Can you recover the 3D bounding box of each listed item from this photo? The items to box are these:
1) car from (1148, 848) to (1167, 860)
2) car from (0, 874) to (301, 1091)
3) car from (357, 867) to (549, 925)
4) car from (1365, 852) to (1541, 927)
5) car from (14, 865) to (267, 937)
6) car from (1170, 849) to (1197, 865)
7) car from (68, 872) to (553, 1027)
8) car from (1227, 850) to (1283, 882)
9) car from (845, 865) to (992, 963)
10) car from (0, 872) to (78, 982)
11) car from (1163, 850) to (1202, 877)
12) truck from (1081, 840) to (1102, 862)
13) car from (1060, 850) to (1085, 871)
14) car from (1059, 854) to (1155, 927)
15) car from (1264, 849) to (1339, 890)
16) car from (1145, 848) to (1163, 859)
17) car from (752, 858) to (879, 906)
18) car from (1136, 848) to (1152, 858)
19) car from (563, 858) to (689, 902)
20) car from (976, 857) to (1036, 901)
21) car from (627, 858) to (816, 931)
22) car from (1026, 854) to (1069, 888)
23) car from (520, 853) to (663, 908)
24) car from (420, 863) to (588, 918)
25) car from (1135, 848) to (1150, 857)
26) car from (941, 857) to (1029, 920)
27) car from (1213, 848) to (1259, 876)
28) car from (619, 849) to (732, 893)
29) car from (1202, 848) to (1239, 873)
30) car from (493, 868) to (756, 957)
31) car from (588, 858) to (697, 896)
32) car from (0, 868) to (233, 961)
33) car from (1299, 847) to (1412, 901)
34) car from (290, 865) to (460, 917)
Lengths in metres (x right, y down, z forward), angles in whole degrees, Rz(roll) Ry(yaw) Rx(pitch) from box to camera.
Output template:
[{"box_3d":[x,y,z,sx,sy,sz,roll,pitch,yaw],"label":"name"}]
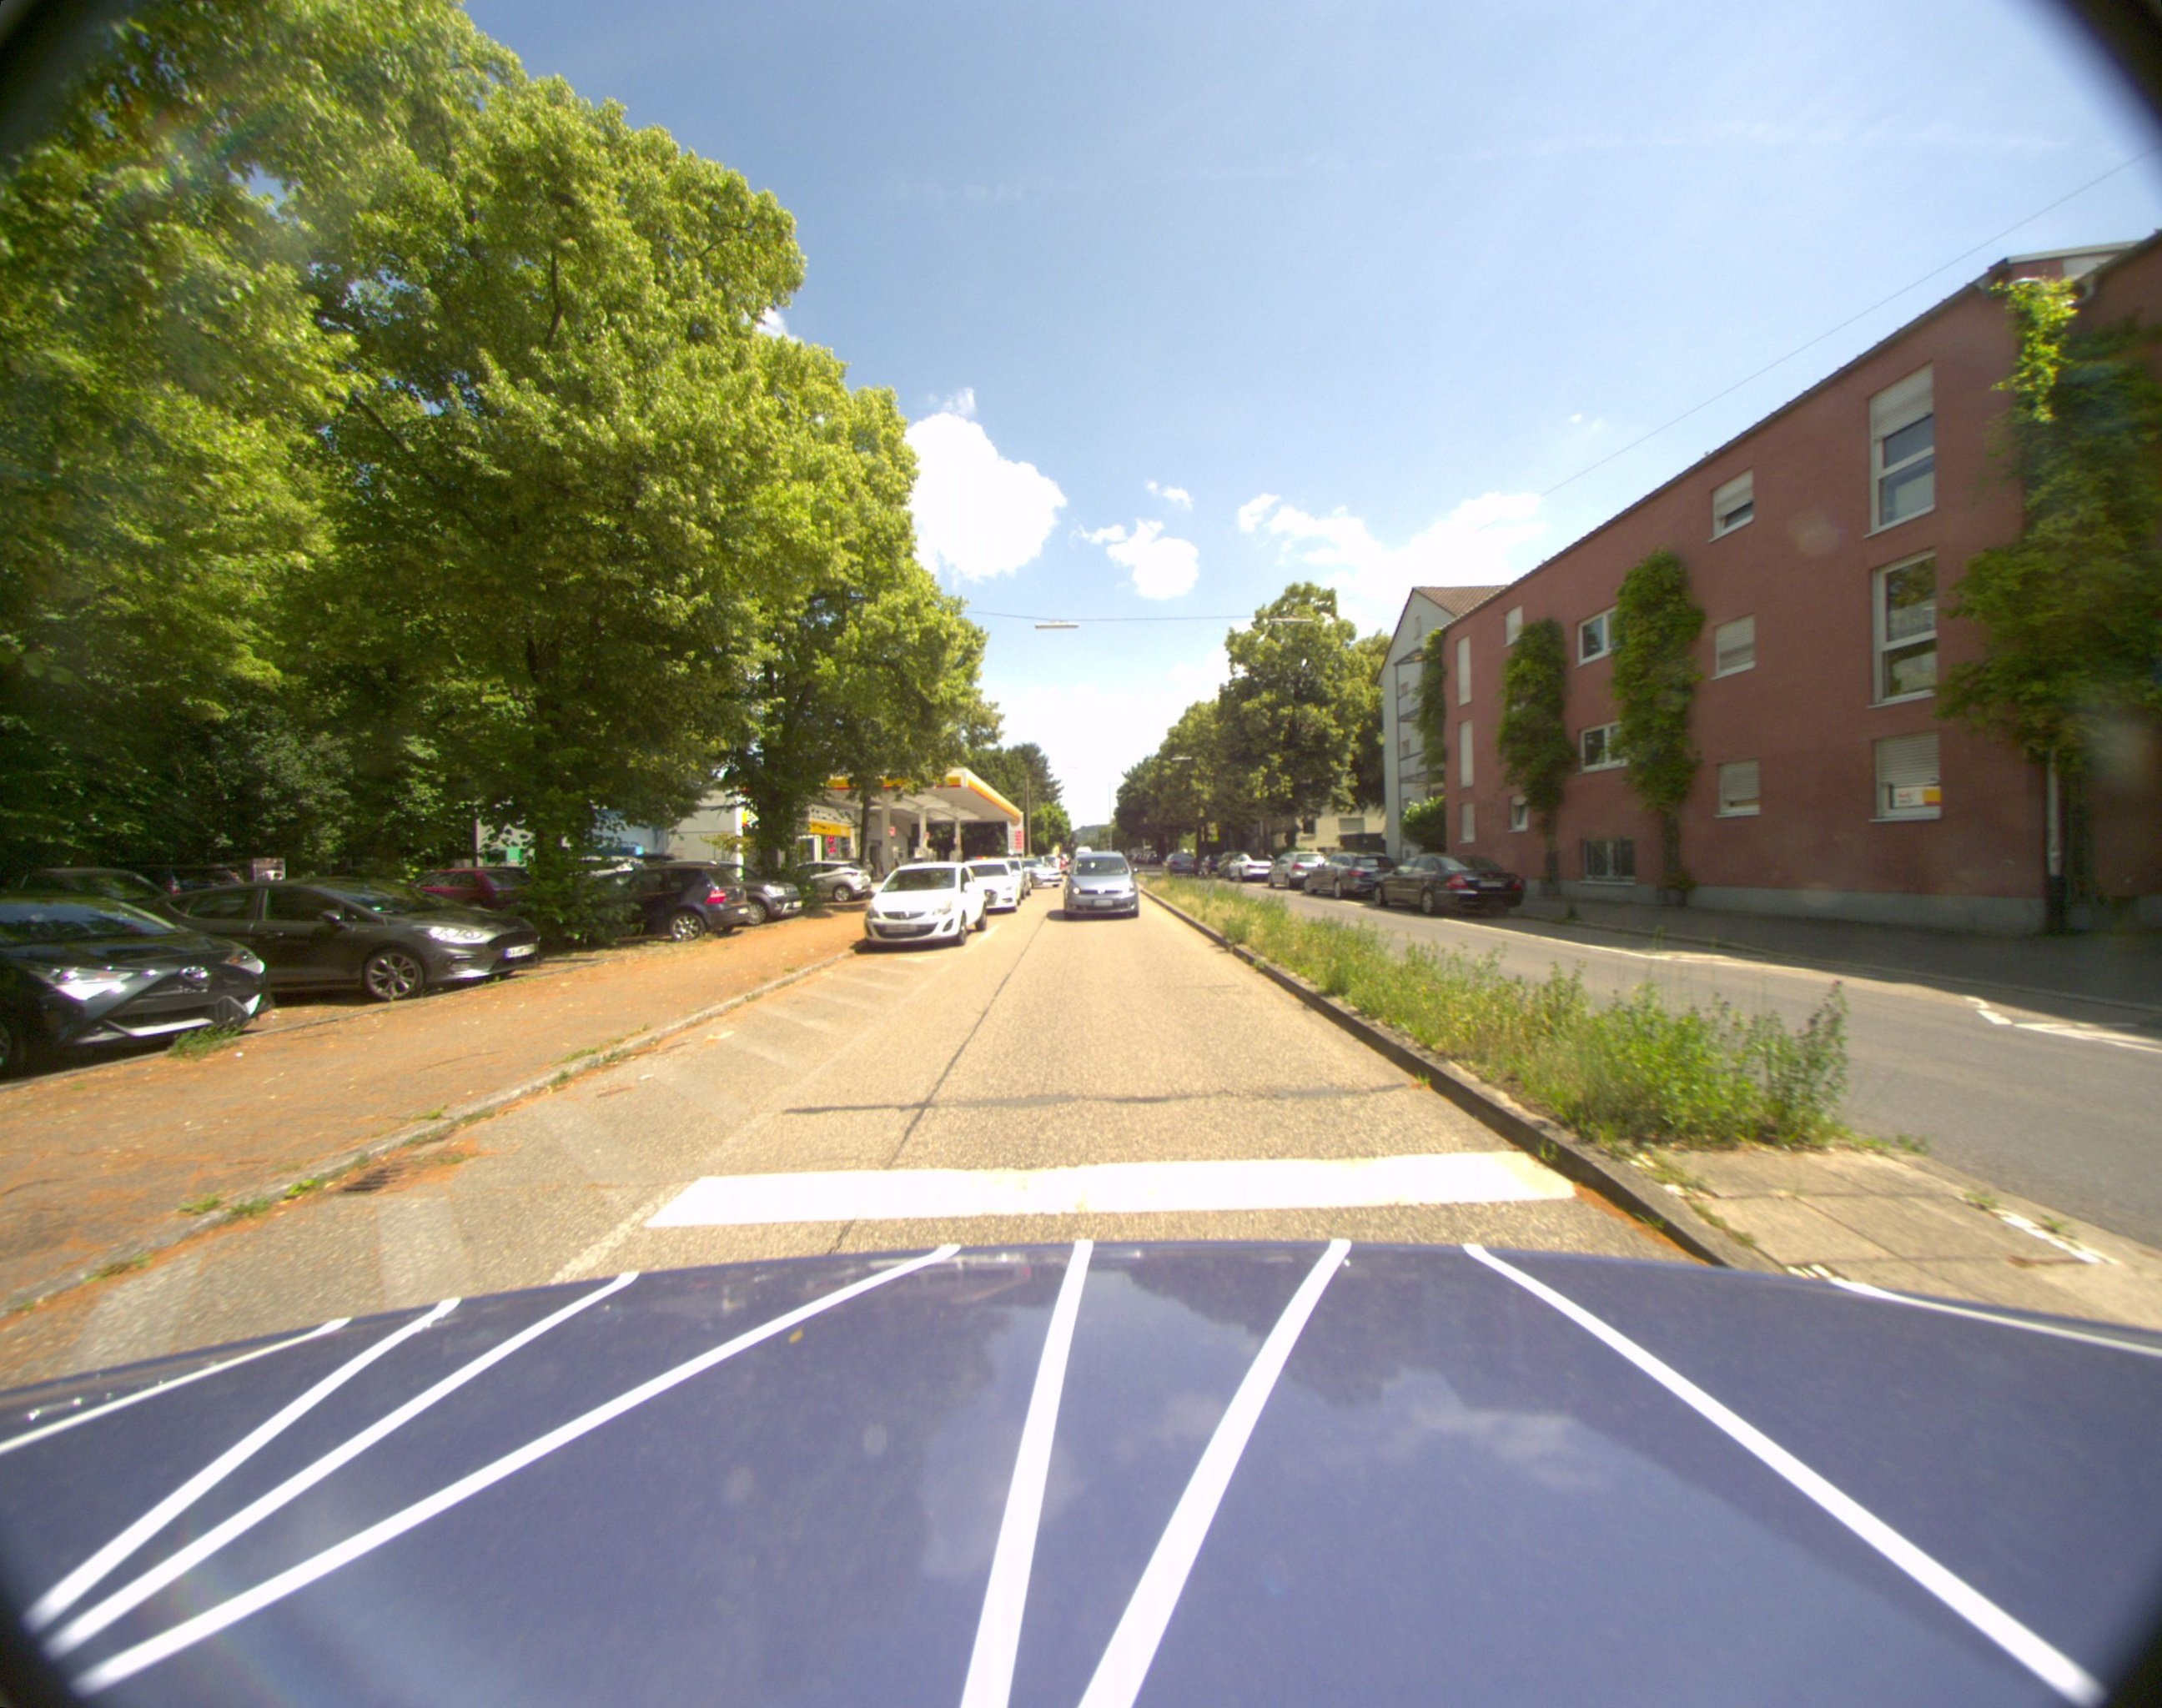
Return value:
[{"box_3d":[9.038,0.006,89.468,1.758,1.325,3.607,-2,1,-1],"label":"car"},{"box_3d":[-9.410,1.056,6.277,4.078,1.485,1.636,-3,1,-1],"label":"car"},{"box_3d":[-17.482,1.147,21.311,3.808,1.456,1.737,-1,1,-4],"label":"car"},{"box_3d":[8.719,0.737,18.320,1.891,1.531,4.567,-1,0,-2],"label":"car"},{"box_3d":[-22.919,1.108,18.644,3.808,1.616,1.737,-1,1,-4],"label":"car"},{"box_3d":[9.044,0.264,67.185,1.758,1.325,3.607,-2,1,-1],"label":"car"},{"box_3d":[-9.078,1.074,9.228,4.078,1.485,1.636,-2,1,-1],"label":"car"},{"box_3d":[8.553,0.548,37.732,1.752,1.434,3.999,-2,1,-1],"label":"car"},{"box_3d":[-2.865,0.997,14.334,1.721,1.434,4.111,-3,0,1],"label":"car"},{"box_3d":[-17.904,1.107,10.867,4.265,1.578,1.818,-1,1,-6],"label":"car"},{"box_3d":[6.174,0.529,46.602,1.752,1.499,3.999,-2,1,-1],"label":"car"},{"box_3d":[1.188,-0.350,83.608,1.867,2.211,4.506,-2,0,5],"label":"truck"},{"box_3d":[-0.631,0.484,61.375,1.867,1.516,4.292,-2,0,1],"label":"car"},{"box_3d":[0.750,0.790,18.395,1.745,1.513,4.226,-1,1,10],"label":"car"},{"box_3d":[8.833,0.581,30.803,1.752,1.499,3.999,-2,1,-1],"label":"car"},{"box_3d":[8.996,-0.052,94.359,1.758,1.325,3.607,-2,1,-1],"label":"car"},{"box_3d":[-9.108,0.939,26.324,3.762,1.518,1.853,-1,1,-3],"label":"car"},{"box_3d":[8.775,-0.170,105.441,1.758,1.325,3.607,-2,1,-1],"label":"car"},{"box_3d":[-17.617,0.987,29.548,3.808,1.608,1.737,-1,1,-4],"label":"car"},{"box_3d":[-2.709,0.884,27.943,1.775,1.434,3.338,-2,0,1],"label":"car"},{"box_3d":[-8.535,0.957,18.164,3.763,1.527,1.631,-2,1,11],"label":"car"},{"box_3d":[-1.700,0.778,37.159,1.868,1.516,4.290,-2,0,-4],"label":"car"},{"box_3d":[-17.455,0.919,27.271,3.808,1.840,1.932,-1,1,-4],"label":"car"},{"box_3d":[-17.970,1.107,23.802,3.809,1.574,1.737,-1,1,-4],"label":"car"},{"box_3d":[8.984,-0.239,110.600,1.758,1.325,3.607,-2,1,-1],"label":"car"},{"box_3d":[-2.633,0.910,21.816,1.867,1.516,4.208,-2,0,1],"label":"car"},{"box_3d":[8.963,0.443,44.249,1.752,1.499,3.999,-2,1,-1],"label":"car"},{"box_3d":[-19.475,0.789,36.623,4.375,1.985,1.854,-1,1,-4],"label":"car"},{"box_3d":[9.024,0.382,49.415,1.572,1.499,3.999,-2,1,-1],"label":"car"},{"box_3d":[-8.399,1.036,14.304,3.849,1.350,1.628,-2,1,-8],"label":"car"},{"box_3d":[-19.564,1.004,34.030,3.808,1.608,1.737,-1,1,-4],"label":"car"},{"box_3d":[-18.301,1.049,13.652,3.956,1.513,1.737,-1,1,-4],"label":"car"},{"box_3d":[8.754,0.572,24.679,1.891,1.531,4.567,-1,0,-2],"label":"car"},{"box_3d":[-23.025,1.192,24.902,3.809,1.554,1.737,-1,1,-4],"label":"car"}]
